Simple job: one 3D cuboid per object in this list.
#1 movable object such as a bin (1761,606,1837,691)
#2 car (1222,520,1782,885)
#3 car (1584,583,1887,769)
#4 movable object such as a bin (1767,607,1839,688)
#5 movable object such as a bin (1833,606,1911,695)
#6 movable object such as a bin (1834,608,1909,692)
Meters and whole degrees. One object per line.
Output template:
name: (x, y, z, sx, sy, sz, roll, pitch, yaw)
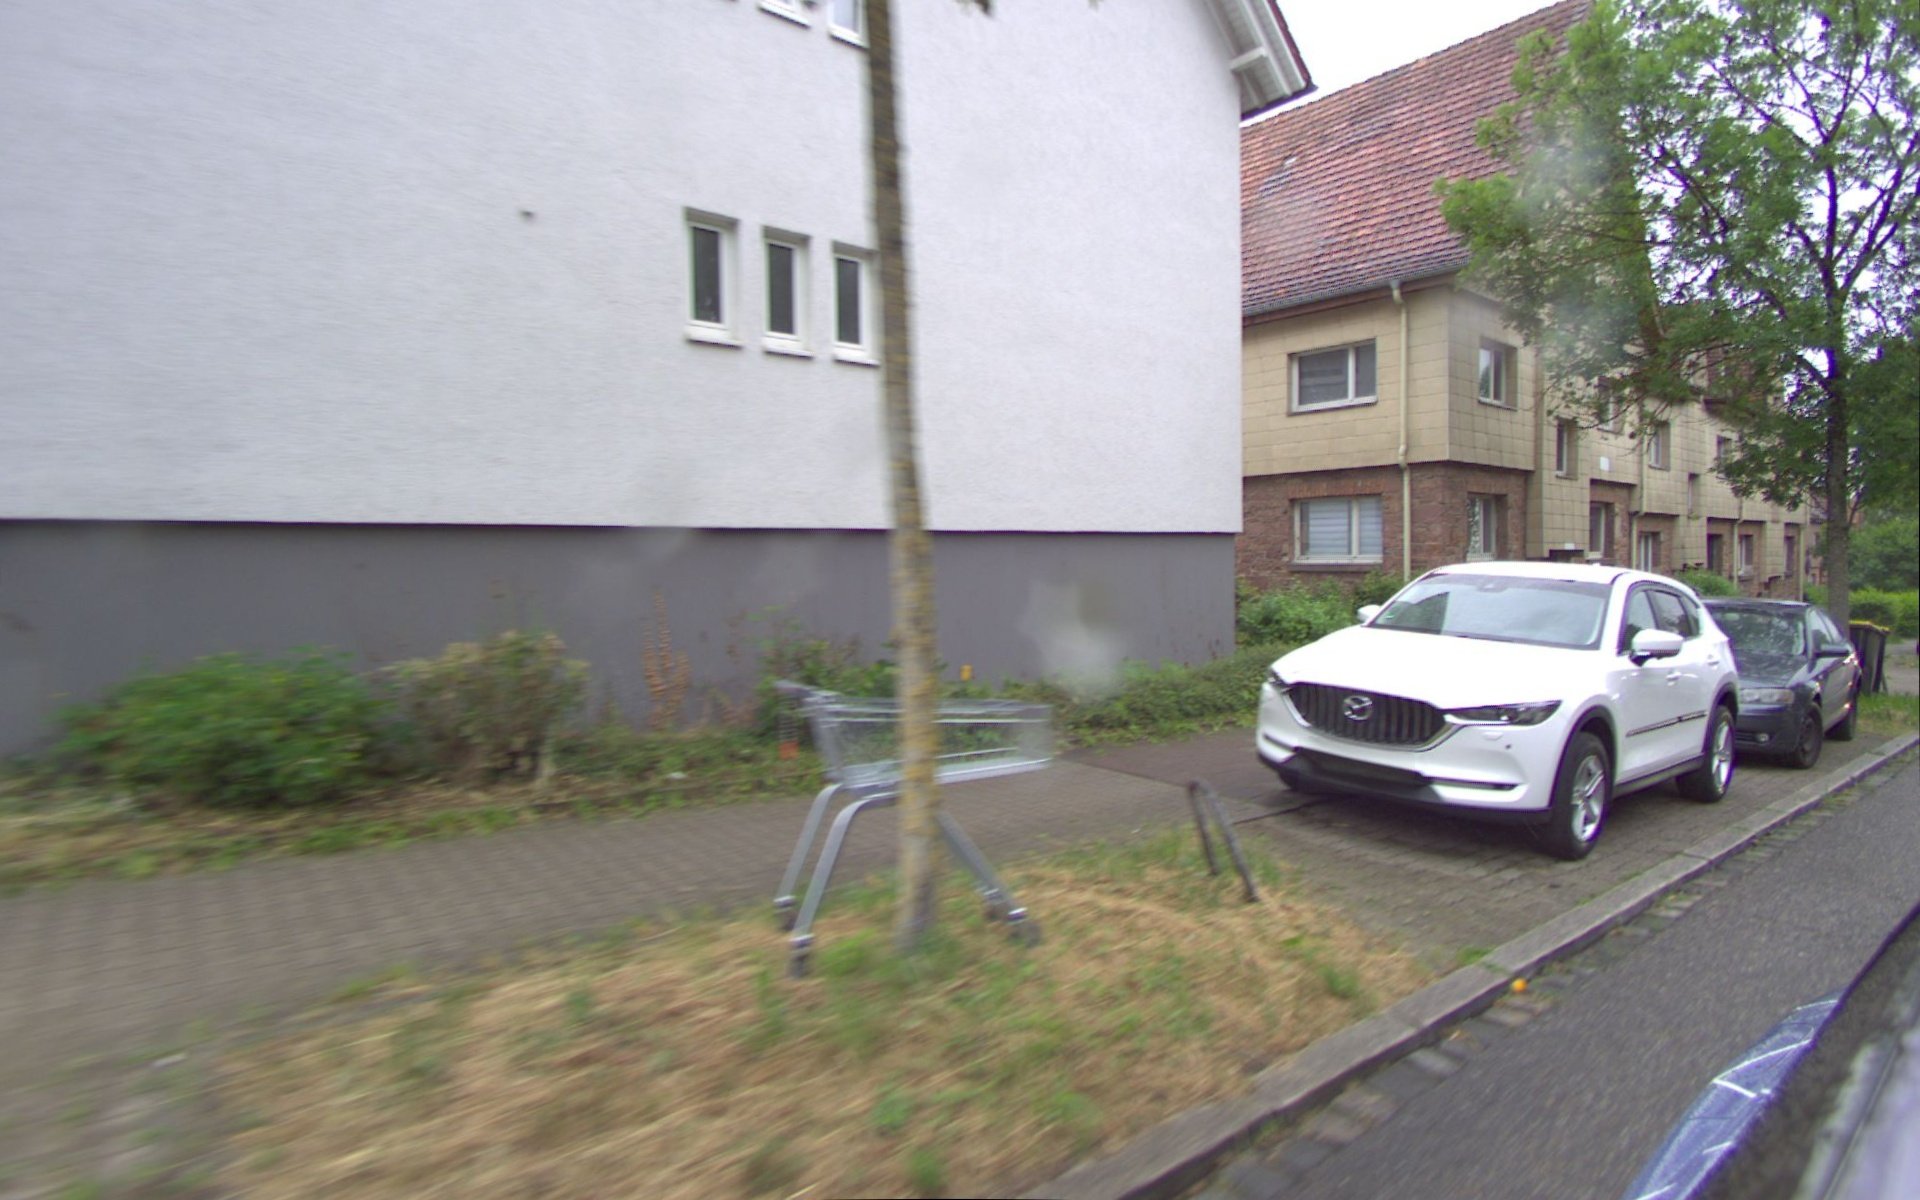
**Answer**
movable object such as a bin: (11.331, 0.638, 13.665, 0.808, 1.063, 0.620, 1, 3, -43)
car: (3.984, 0.499, 7.085, 4.458, 1.794, 1.829, 1, 1, -39)
car: (7.816, 0.610, 10.073, 3.929, 1.467, 1.644, 0, 1, -41)
movable object such as a bin: (11.949, 0.660, 14.341, 0.808, 1.063, 0.620, 1, 3, -43)
movable object such as a bin: (11.801, 0.640, 13.093, 0.808, 1.063, 0.620, 1, 3, -43)
movable object such as a bin: (12.396, 0.662, 13.760, 0.808, 1.063, 0.620, 1, 3, -43)
